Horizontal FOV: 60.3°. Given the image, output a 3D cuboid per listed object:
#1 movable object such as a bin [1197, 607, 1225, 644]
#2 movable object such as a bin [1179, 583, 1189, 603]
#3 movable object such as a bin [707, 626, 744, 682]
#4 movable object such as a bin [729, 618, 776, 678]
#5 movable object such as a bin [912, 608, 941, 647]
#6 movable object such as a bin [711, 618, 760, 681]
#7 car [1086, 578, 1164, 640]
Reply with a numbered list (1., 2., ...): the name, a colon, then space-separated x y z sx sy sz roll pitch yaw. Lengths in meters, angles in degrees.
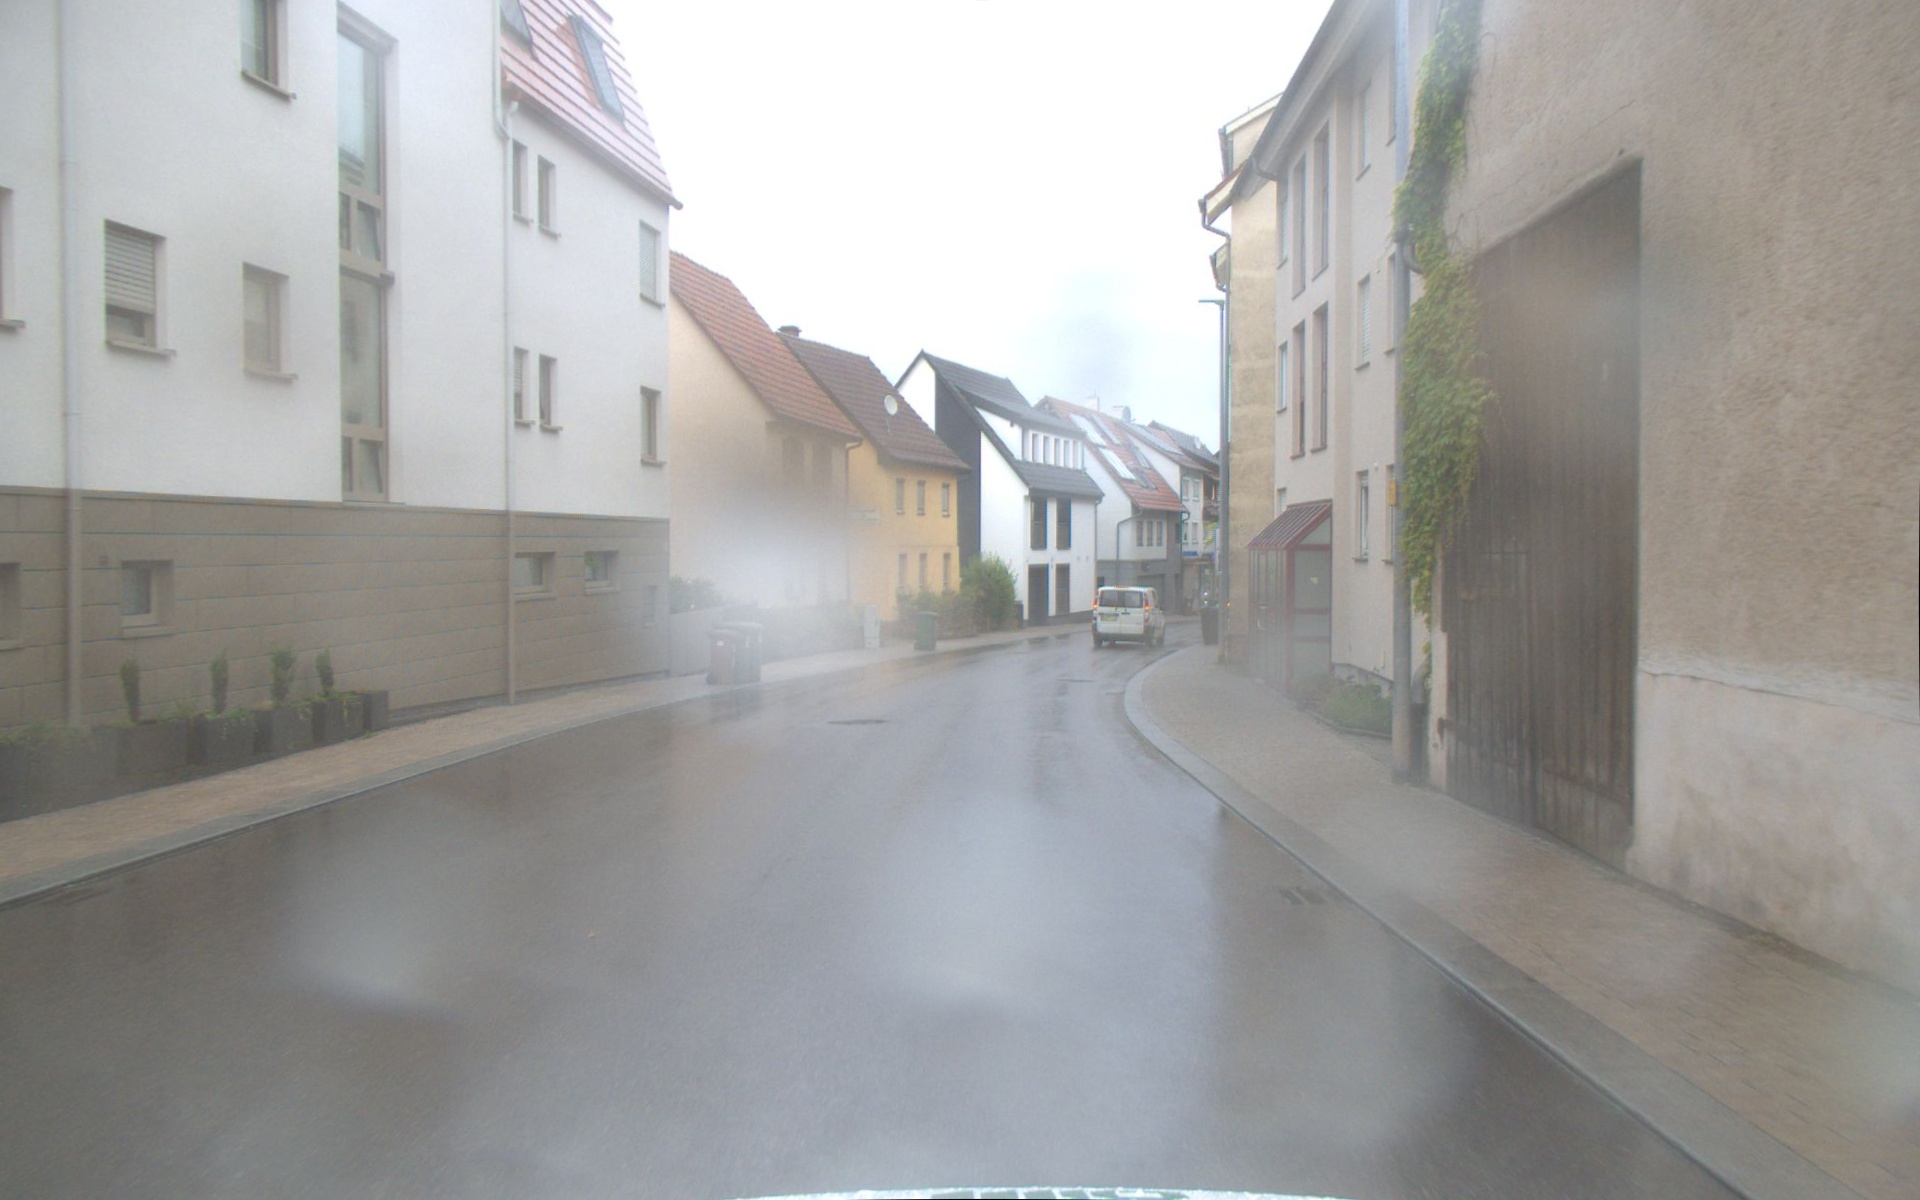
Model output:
1. movable object such as a bin: 8.152 0.818 53.731 0.751 1.193 1.542 0 0 14
2. movable object such as a bin: 13.291 -0.420 98.061 0.507 1.142 0.636 0 0 12
3. movable object such as a bin: -4.106 0.940 29.002 0.495 0.939 0.579 1 0 6
4. movable object such as a bin: -3.825 0.880 30.508 0.667 1.064 0.662 1 0 8
5. movable object such as a bin: -0.944 0.781 47.085 0.645 1.074 0.764 2 1 10
6. movable object such as a bin: -4.026 0.878 29.688 0.667 1.085 0.695 1 0 8
7. car: 5.284 0.266 52.460 2.148 1.884 4.308 0 0 10
